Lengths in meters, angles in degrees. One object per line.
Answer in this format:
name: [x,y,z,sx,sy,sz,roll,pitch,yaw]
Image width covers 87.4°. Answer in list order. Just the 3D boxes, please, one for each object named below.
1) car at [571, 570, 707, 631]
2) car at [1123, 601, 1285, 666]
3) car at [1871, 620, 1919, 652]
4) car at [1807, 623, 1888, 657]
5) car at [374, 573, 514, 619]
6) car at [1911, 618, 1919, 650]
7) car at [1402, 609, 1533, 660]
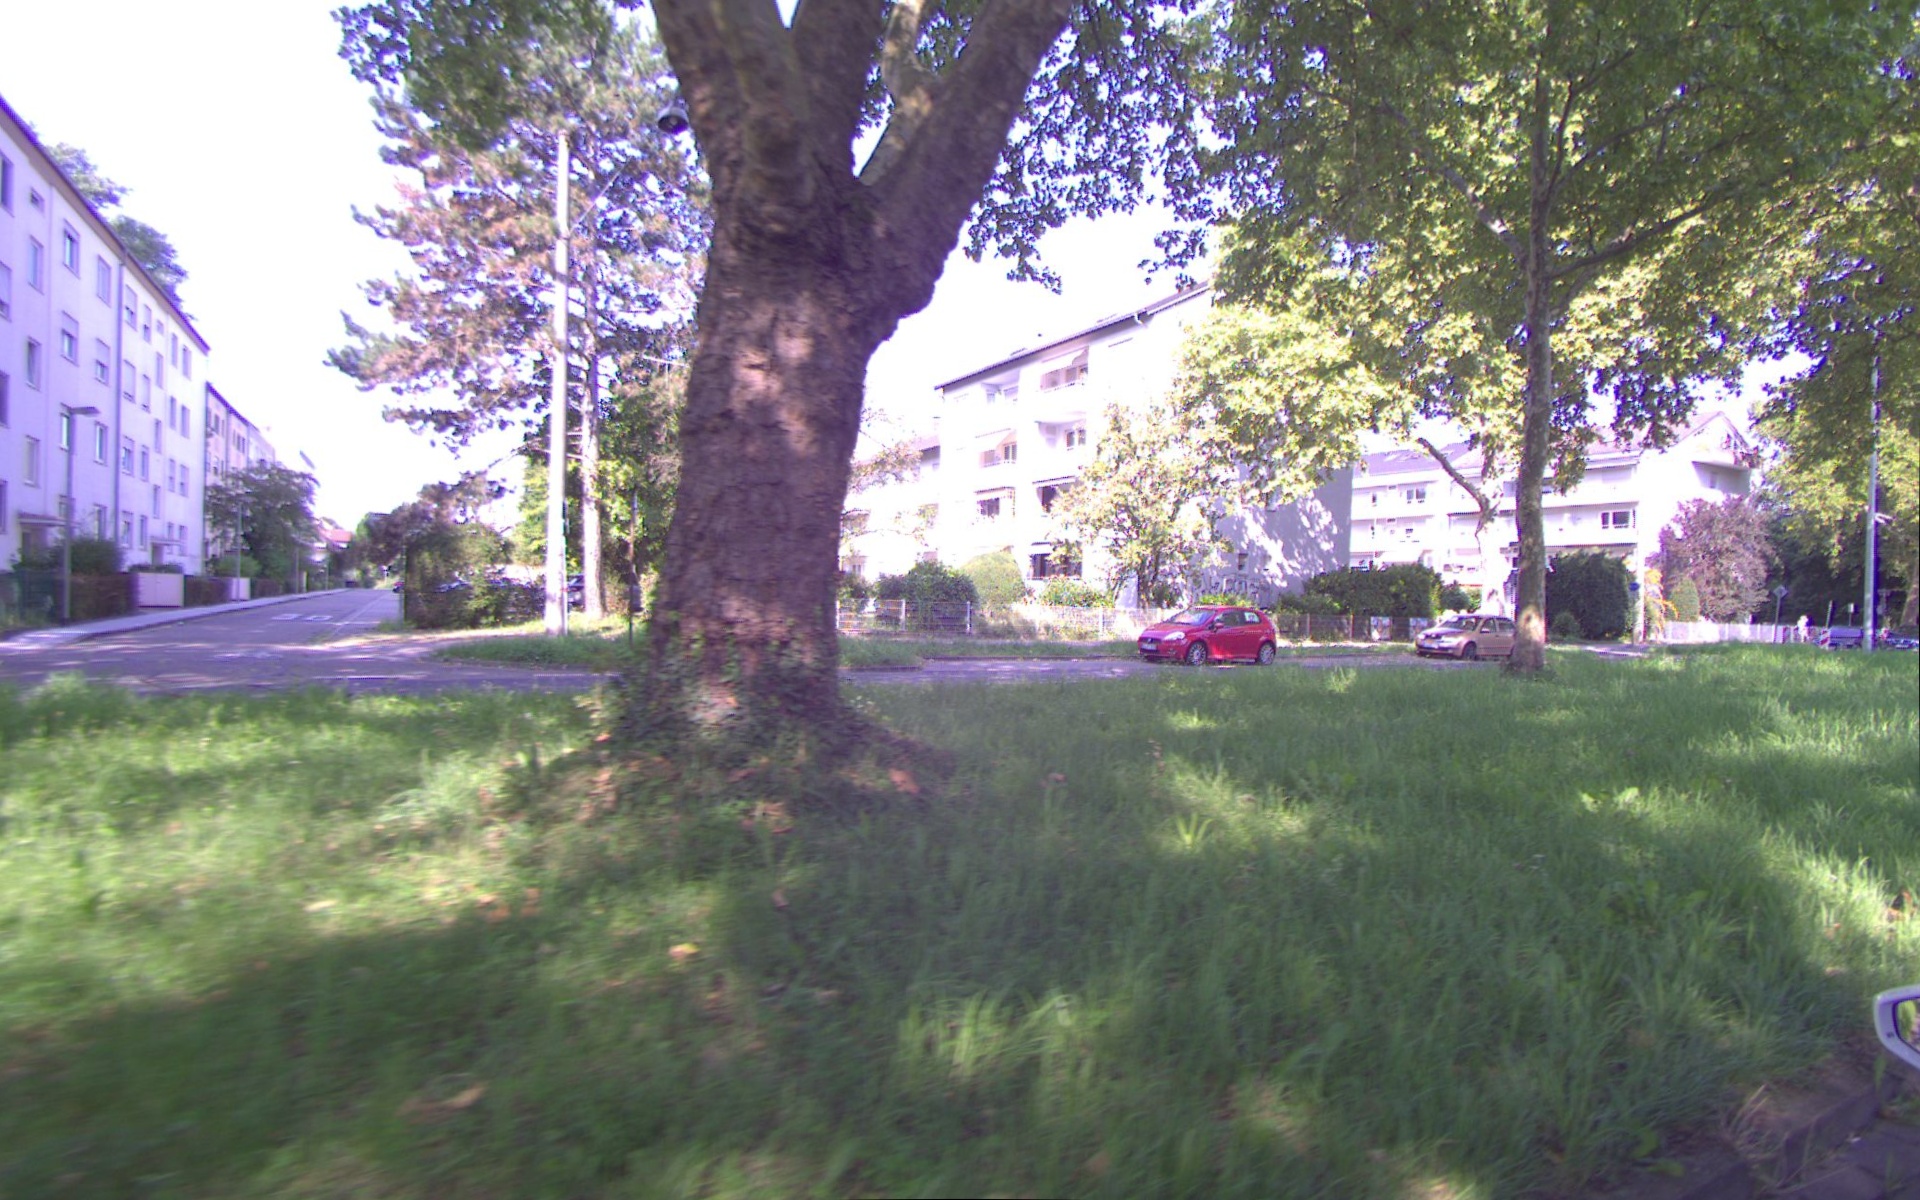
car: [-11.041,0.036,34.577,4.209,1.926,1.838,2,1,-27]
car: [6.183,0.845,25.310,4.017,1.471,1.531,2,1,-31]
car: [50.332,1.904,53.474,3.955,1.588,1.690,2,0,-32]
car: [42.791,1.928,48.415,4.490,1.528,1.690,2,0,-32]
car: [-18.559,-0.137,36.309,4.392,1.490,1.838,2,1,-27]
car: [56.639,2.014,57.785,4.608,1.755,1.690,2,1,-32]
car: [16.010,1.083,31.643,4.017,1.449,1.793,1,1,-31]
